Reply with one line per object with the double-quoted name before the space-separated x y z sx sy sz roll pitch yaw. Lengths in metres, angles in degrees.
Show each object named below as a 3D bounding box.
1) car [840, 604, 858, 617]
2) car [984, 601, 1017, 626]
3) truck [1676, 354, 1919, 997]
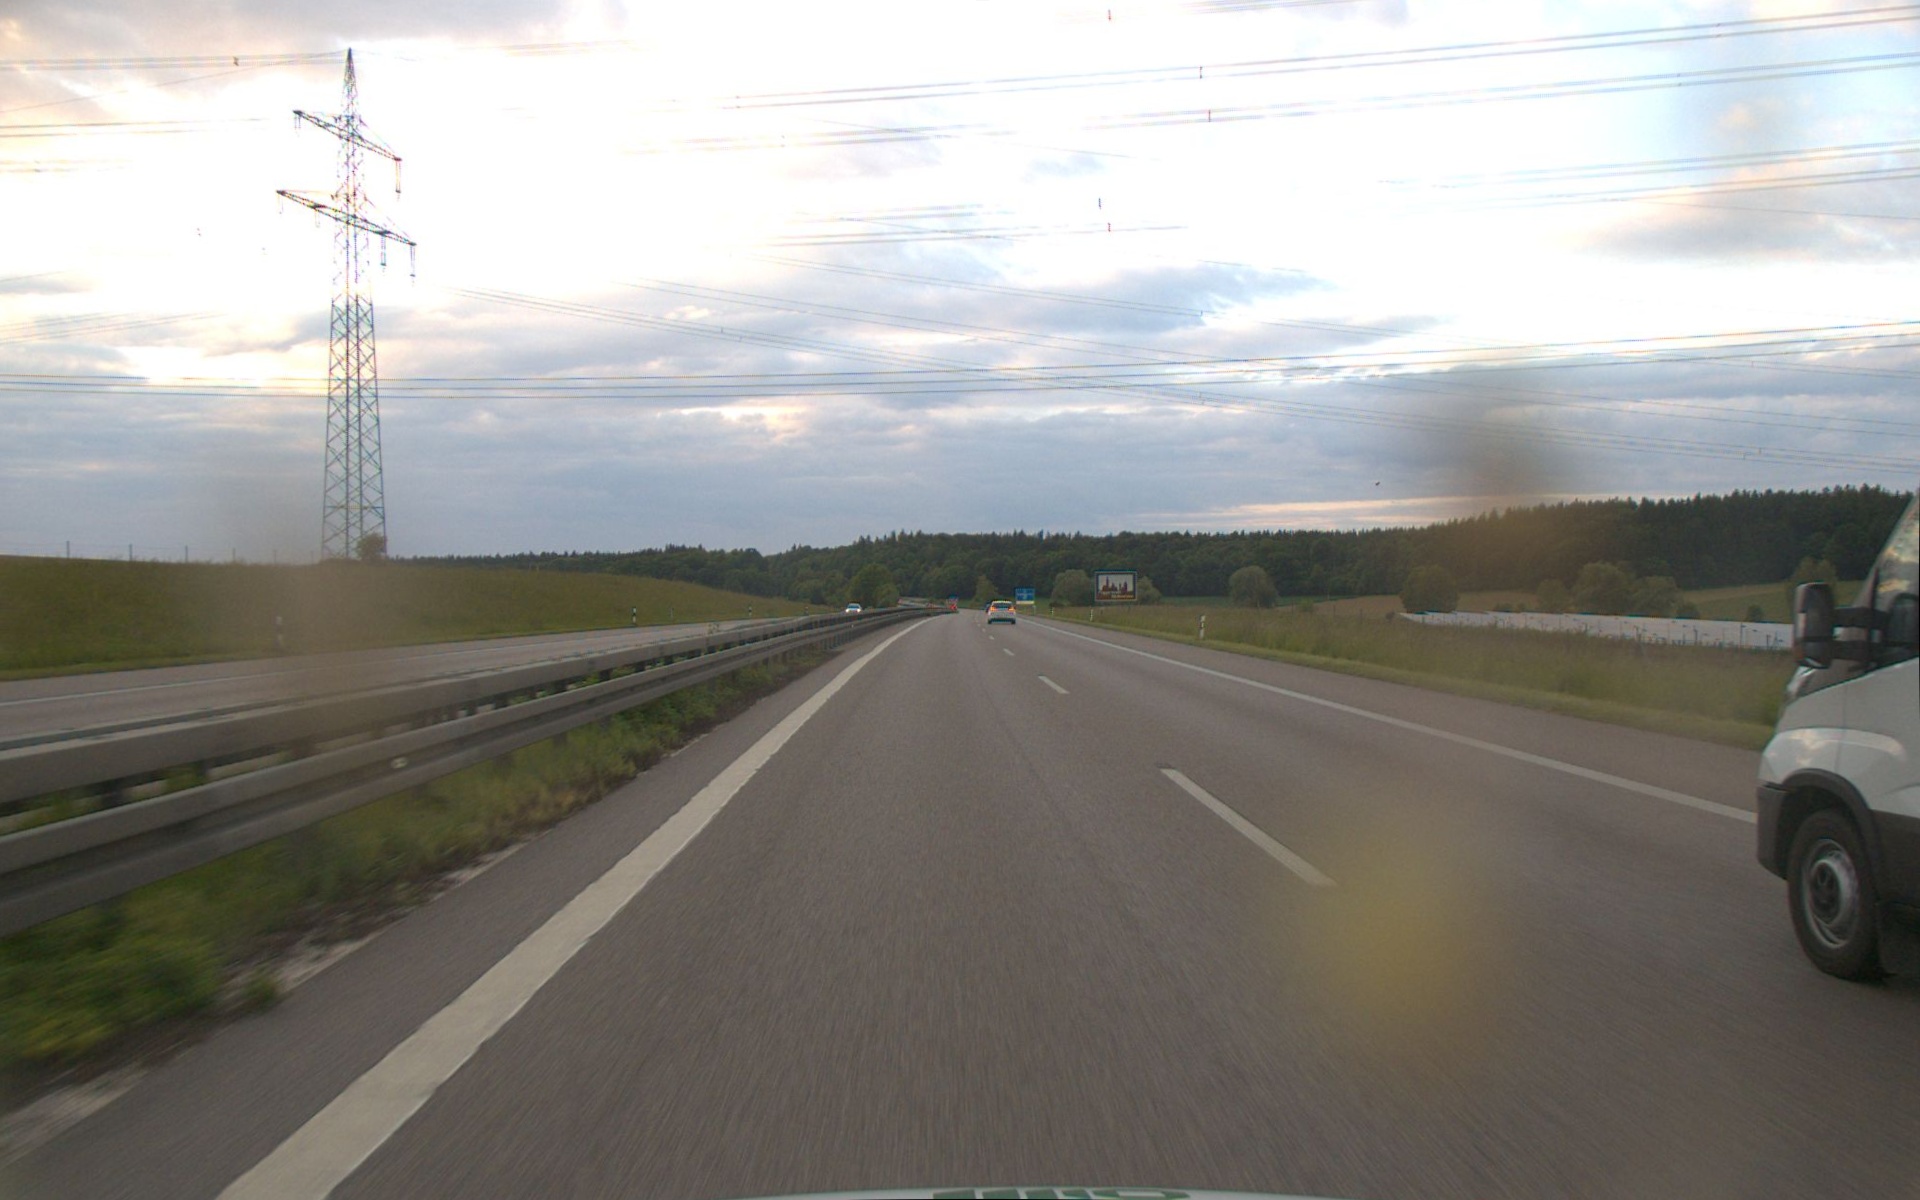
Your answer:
"car" -13.379 1.266 199.547 1.729 1.508 5.334 1 0 1
"car" 2.595 0.870 107.088 1.912 1.558 4.079 1 0 -1
"truck" 4.651 0.301 4.416 2.127 2.401 7.696 1 0 0
